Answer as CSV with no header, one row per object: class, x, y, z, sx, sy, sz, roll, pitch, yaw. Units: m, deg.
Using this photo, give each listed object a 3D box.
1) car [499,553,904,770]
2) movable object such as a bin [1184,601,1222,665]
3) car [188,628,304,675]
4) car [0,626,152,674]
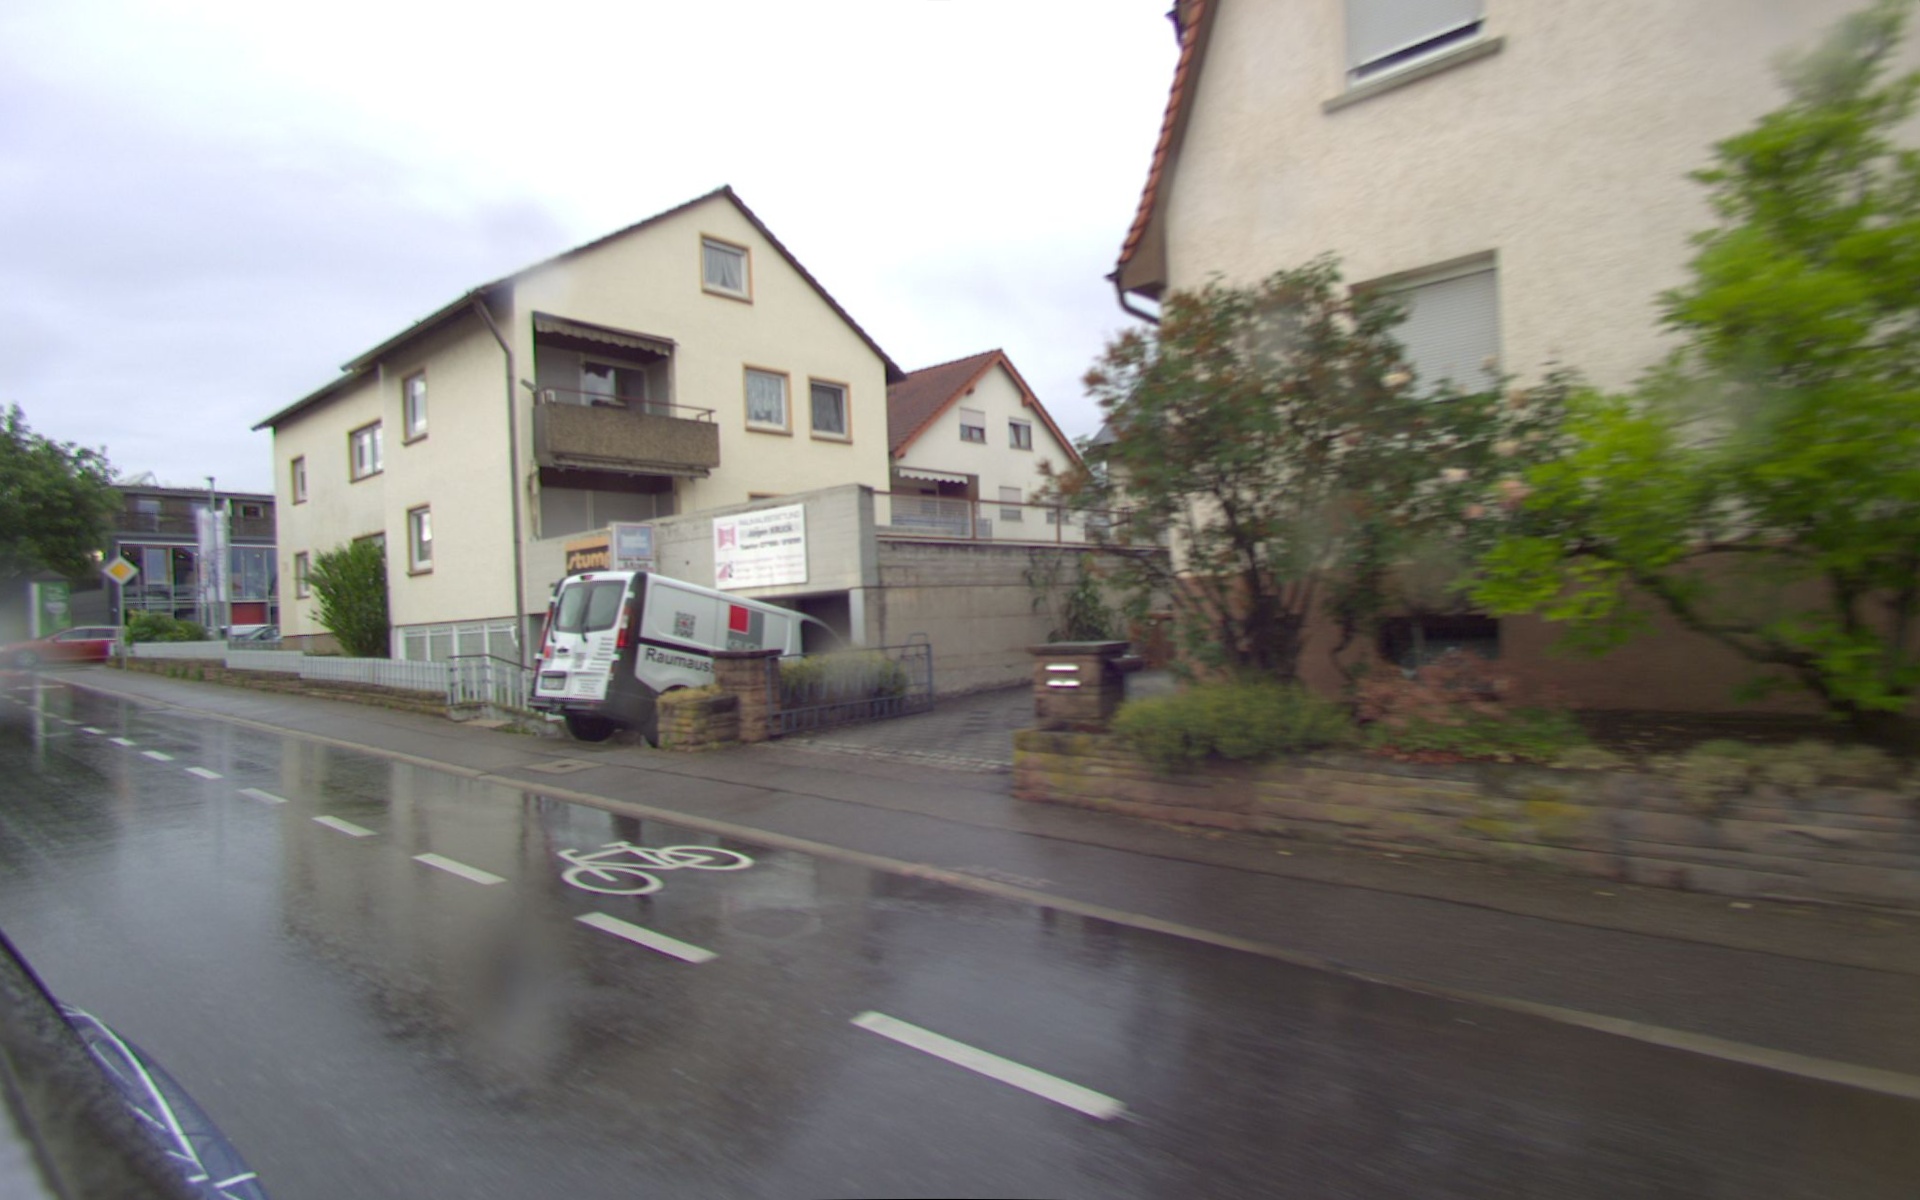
car,-3.110,0.988,13.080,2.158,2.028,4.508,-5,-14,40
movable object such as a bin,4.122,0.561,17.145,0.387,1.046,0.444,-5,-1,41
car,-37.193,2.634,52.826,2.145,2.028,4.366,-5,-1,30
car,-31.636,1.748,35.729,1.872,1.579,4.597,-3,-2,39
